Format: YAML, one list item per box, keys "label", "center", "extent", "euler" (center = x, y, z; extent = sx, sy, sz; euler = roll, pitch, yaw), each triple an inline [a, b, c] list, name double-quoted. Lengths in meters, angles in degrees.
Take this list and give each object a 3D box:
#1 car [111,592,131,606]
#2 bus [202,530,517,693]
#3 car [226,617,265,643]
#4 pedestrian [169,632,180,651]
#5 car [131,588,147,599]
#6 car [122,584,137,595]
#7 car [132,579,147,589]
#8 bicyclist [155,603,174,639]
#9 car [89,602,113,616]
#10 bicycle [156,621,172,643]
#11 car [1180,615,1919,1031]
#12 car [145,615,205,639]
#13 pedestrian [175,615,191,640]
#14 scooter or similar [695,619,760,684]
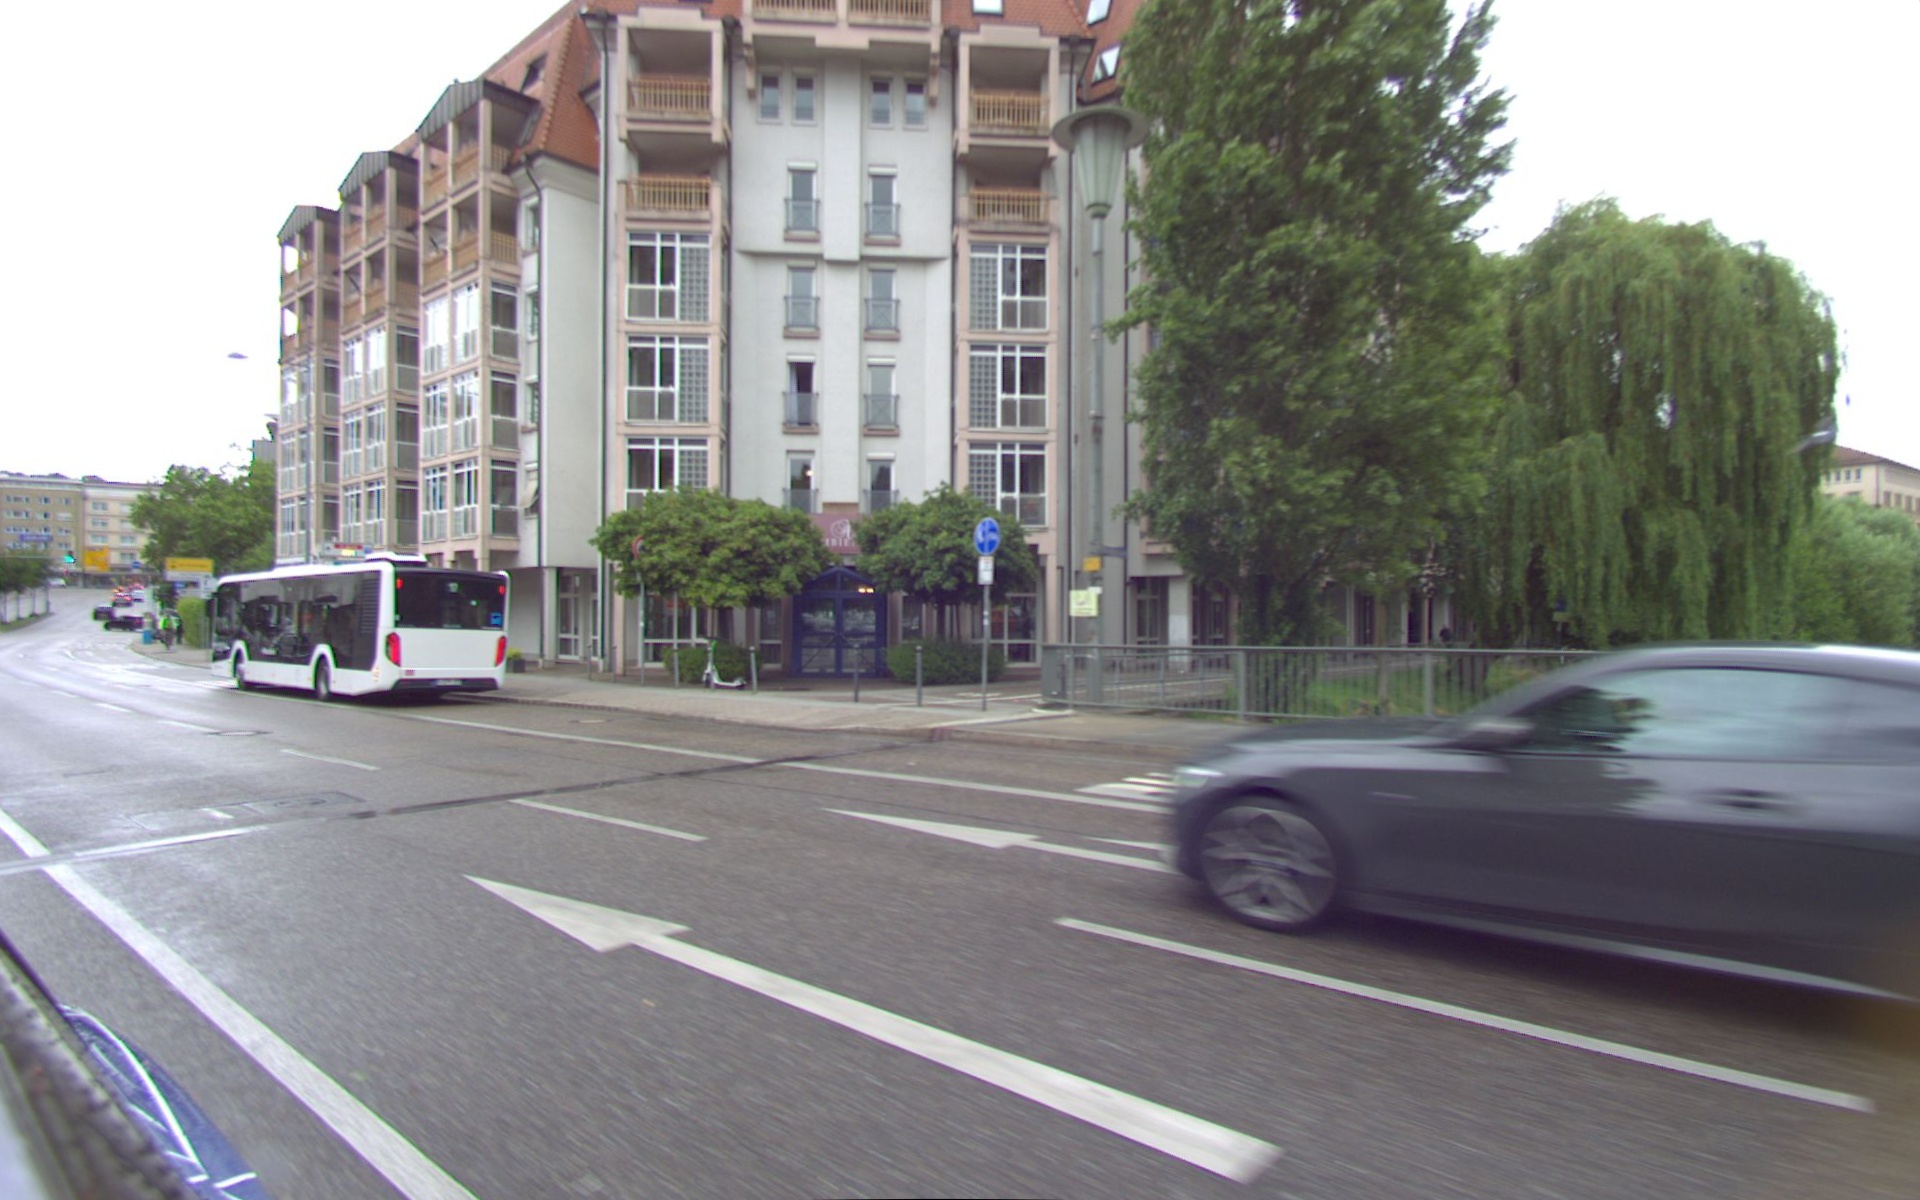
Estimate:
- label: "car"
  center: [-108.245, -0.178, 130.651]
  extent: [1.804, 1.749, 4.319]
  euler: [1, 0, -38]
- label: "bus"
  center: [-14.858, 0.420, 24.274]
  extent: [12.228, 3.099, 2.716]
  euler: [-2, -2, 41]
- label: "car"
  center: [-44.513, 1.878, 63.038]
  extent: [1.575, 1.550, 3.604]
  euler: [0, -1, -42]
- label: "pedestrian"
  center: [-48.566, 2.534, 62.553]
  extent: [0.502, 1.159, 0.463]
  euler: [-1, -2, 45]
- label: "car"
  center: [-115.442, -0.922, 142.329]
  extent: [1.650, 1.527, 3.651]
  euler: [2, -1, -37]
- label: "car"
  center: [-123.399, -1.553, 150.368]
  extent: [1.602, 1.567, 3.666]
  euler: [1, -1, -39]
- label: "car"
  center: [-131.673, -2.510, 162.442]
  extent: [1.691, 1.490, 3.966]
  euler: [3, -1, -38]
- label: "bicyclist"
  center: [-42.936, 1.128, 54.614]
  extent: [0.781, 1.904, 0.955]
  euler: [1, -1, -40]
- label: "car"
  center: [-92.627, 0.952, 109.097]
  extent: [1.736, 1.431, 4.101]
  euler: [3, -1, -43]
- label: "bicycle"
  center: [-43.134, 1.731, 54.843]
  extent: [0.642, 1.118, 2.061]
  euler: [1, -1, -40]
- label: "car"
  center: [3.326, 0.733, 4.242]
  extent: [4.403, 1.335, 1.773]
  euler: [-1, -1, 40]
- label: "car"
  center: [-60.500, 2.075, 78.048]
  extent: [3.631, 1.485, 1.704]
  euler: [-3, -3, -38]
- label: "pedestrian"
  center: [-47.913, 1.688, 62.384]
  extent: [0.565, 1.571, 0.706]
  euler: [-1, -1, 44]
- label: "scooter or similar"
  center: [-5.216, 1.127, 22.649]
  extent: [1.569, 1.323, 0.477]
  euler: [3, 1, 37]
